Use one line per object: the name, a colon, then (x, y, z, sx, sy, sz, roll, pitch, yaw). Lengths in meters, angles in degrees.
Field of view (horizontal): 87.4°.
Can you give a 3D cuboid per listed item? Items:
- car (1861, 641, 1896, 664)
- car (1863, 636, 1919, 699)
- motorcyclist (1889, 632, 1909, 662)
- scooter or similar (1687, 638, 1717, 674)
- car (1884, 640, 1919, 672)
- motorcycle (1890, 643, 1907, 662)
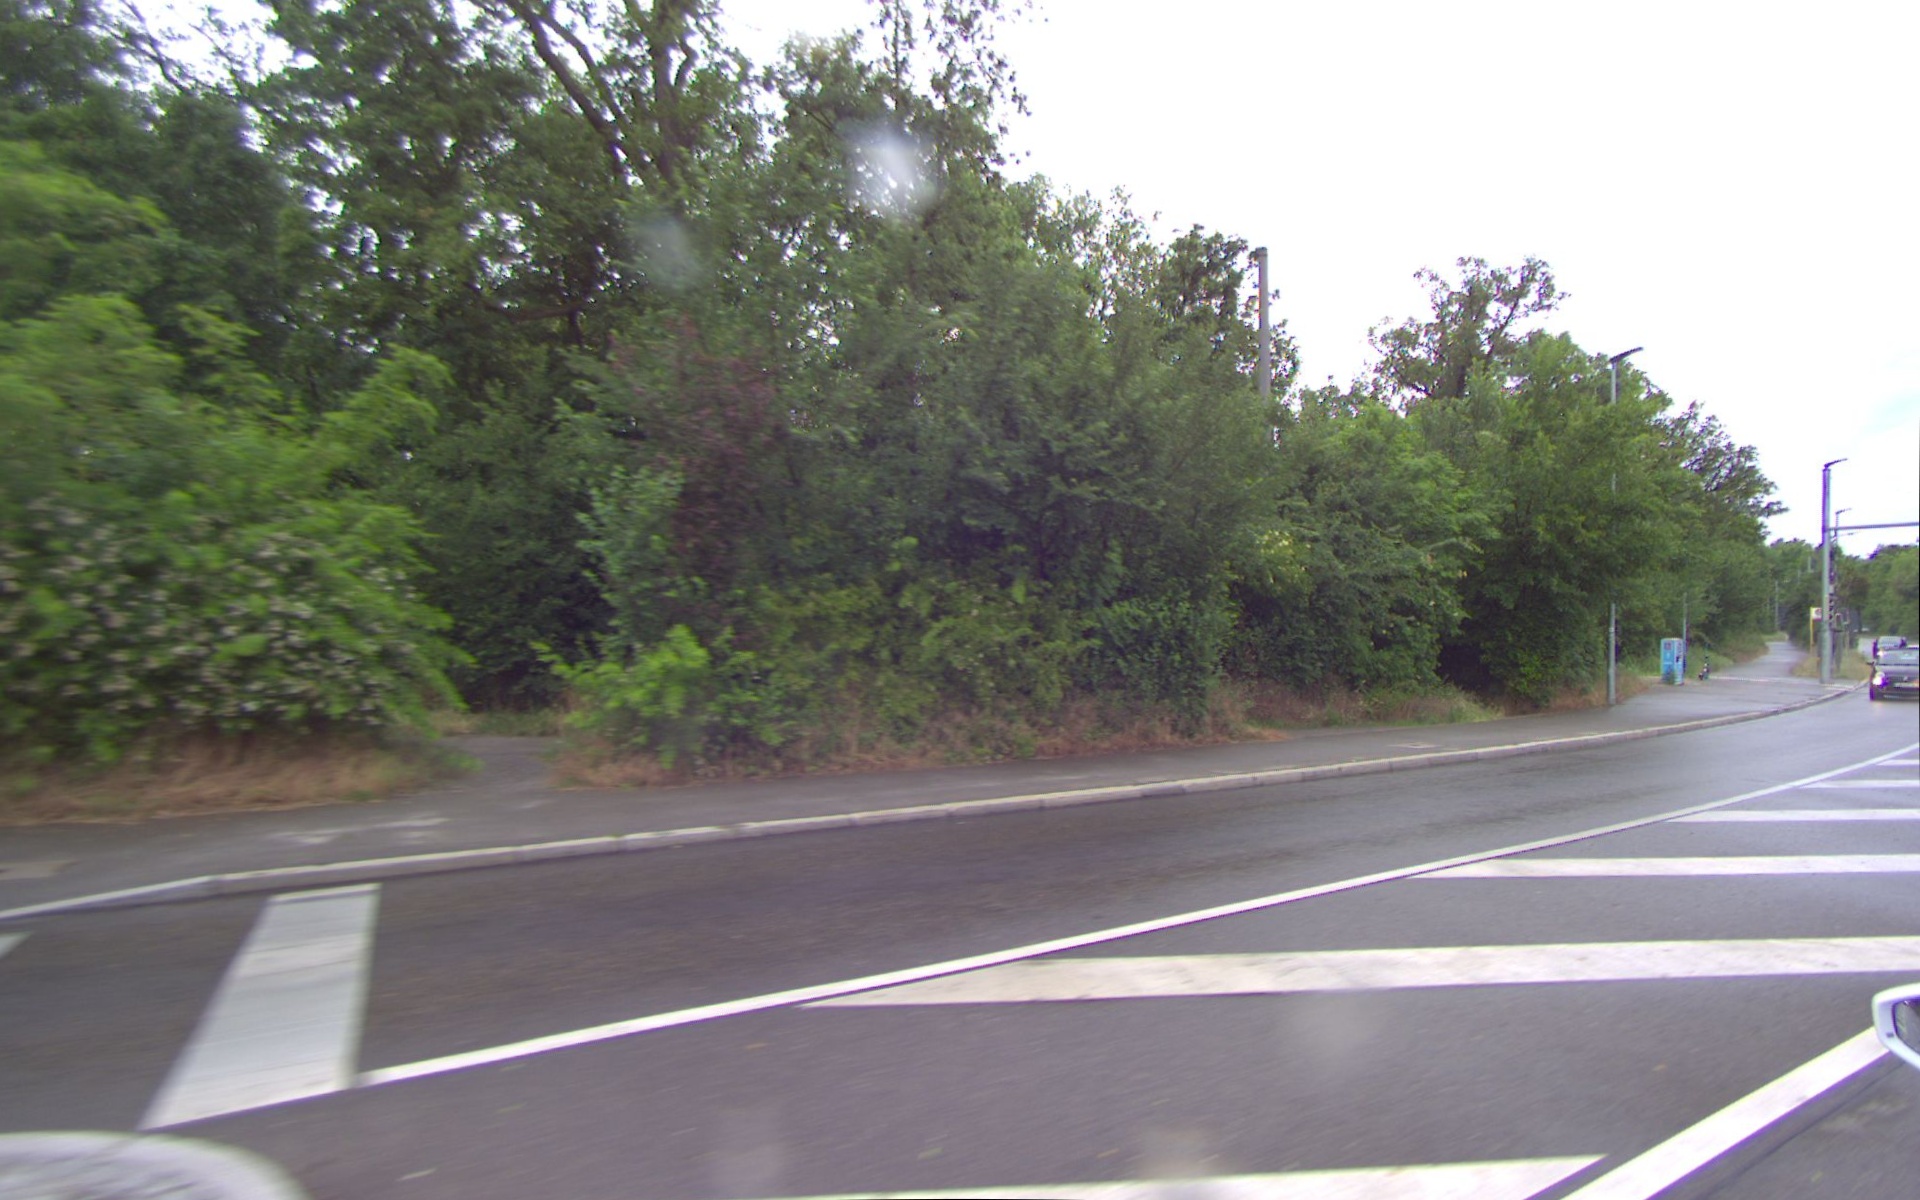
car: (66.064, 3.729, 72.245, 1.770, 1.602, 4.534, -2, -2, 44)
car: (27.928, 1.962, 29.770, 1.560, 1.753, 3.752, -2, -3, 44)
motorcyclist: (53.507, 2.671, 57.232, 0.921, 1.653, 0.738, 2, -2, -44)
scooter or similar: (26.151, 1.970, 35.391, 1.457, 1.228, 0.513, 2, -1, -40)
car: (43.365, 2.528, 45.759, 1.723, 1.370, 4.183, -2, -3, 44)
motorcycle: (53.562, 2.969, 57.318, 1.985, 1.064, 0.588, 2, -3, -44)
